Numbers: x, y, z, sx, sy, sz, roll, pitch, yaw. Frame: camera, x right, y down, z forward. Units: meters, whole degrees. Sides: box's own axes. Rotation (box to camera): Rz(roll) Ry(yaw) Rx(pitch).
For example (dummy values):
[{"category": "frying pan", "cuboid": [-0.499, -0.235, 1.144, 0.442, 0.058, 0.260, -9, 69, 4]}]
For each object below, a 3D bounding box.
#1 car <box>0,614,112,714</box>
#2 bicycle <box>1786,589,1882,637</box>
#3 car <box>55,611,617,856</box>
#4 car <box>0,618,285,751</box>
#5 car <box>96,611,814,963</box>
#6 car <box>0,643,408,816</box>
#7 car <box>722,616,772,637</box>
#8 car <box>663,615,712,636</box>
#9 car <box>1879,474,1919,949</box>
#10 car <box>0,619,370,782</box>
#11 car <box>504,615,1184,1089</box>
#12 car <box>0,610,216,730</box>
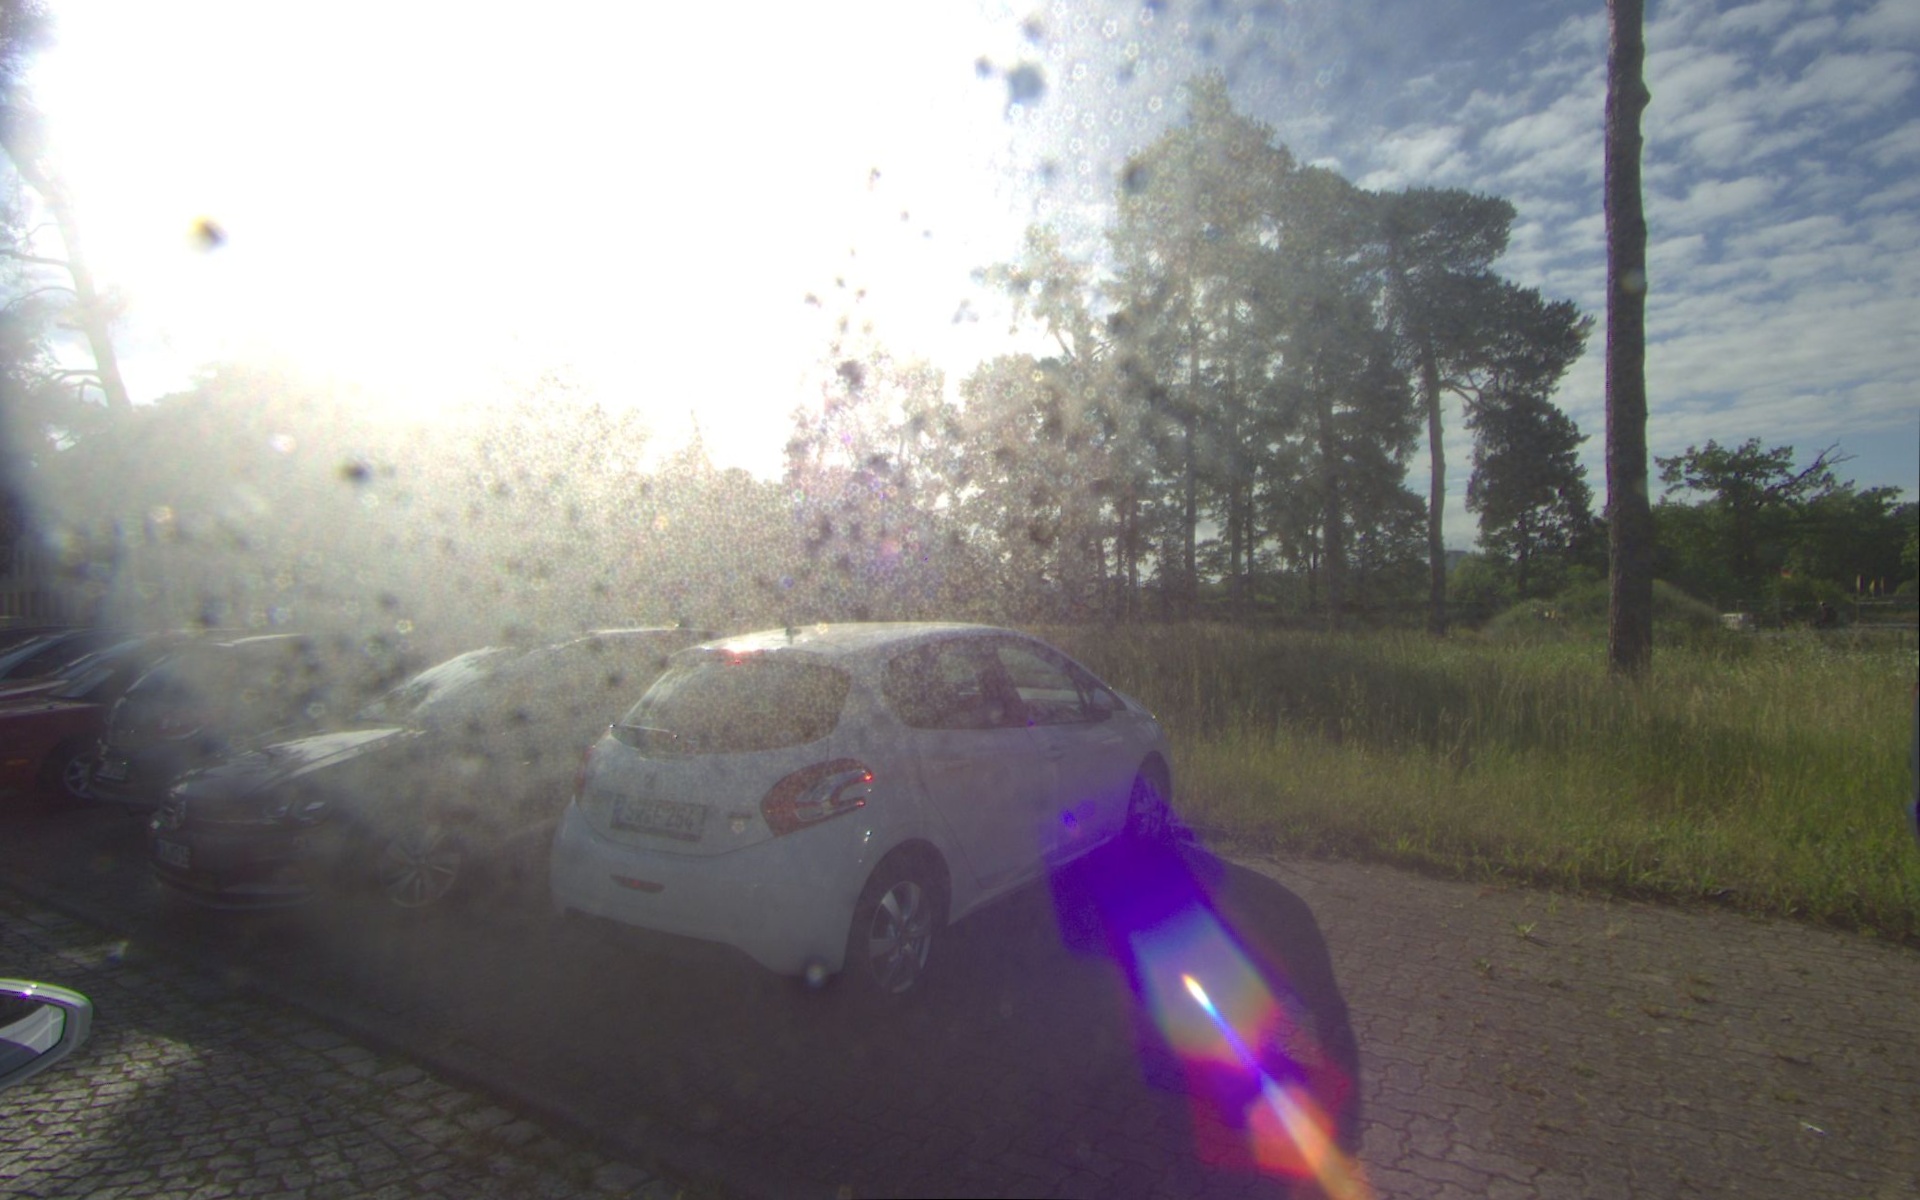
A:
[{"category": "car", "cuboid": [-15.429, 1.009, 15.122, 1.641, 1.462, 3.664, -1, 1, 32]}, {"category": "bicycle", "cuboid": [39.120, 0.605, 44.890, 3.086, 2.039, 0.949, -3, -1, 32]}, {"category": "car", "cuboid": [-4.956, 0.888, 8.454, 1.643, 1.474, 3.654, -1, 1, 32]}, {"category": "car", "cuboid": [-11.098, 0.987, 12.234, 1.763, 1.407, 4.390, -1, 1, 31]}, {"category": "car", "cuboid": [-2.875, 0.851, 6.472, 1.733, 1.470, 3.770, -1, 1, 34]}, {"category": "car", "cuboid": [-7.353, 1.085, 9.472, 1.515, 1.258, 3.453, -1, -1, 33]}, {"category": "car", "cuboid": [-16.510, 2.038, 77.678, 1.743, 1.517, 3.626, -1, -1, 35]}, {"category": "car", "cuboid": [-22.347, 2.071, 82.334, 1.743, 1.693, 3.626, -1, -1, 35]}, {"category": "car", "cuboid": [4.066, 0.511, 2.369, 1.972, 2.041, 4.742, 0, 1, 33]}, {"category": "car", "cuboid": [-9.065, 0.995, 11.173, 1.632, 1.468, 3.971, -1, 0, 32]}, {"category": "car", "cuboid": [-0.235, 0.856, 5.239, 1.611, 1.511, 3.637, -1, 0, 33]}, {"category": "car", "cuboid": [-13.333, 0.971, 13.756, 1.842, 1.475, 4.611, 0, 2, 30]}]
